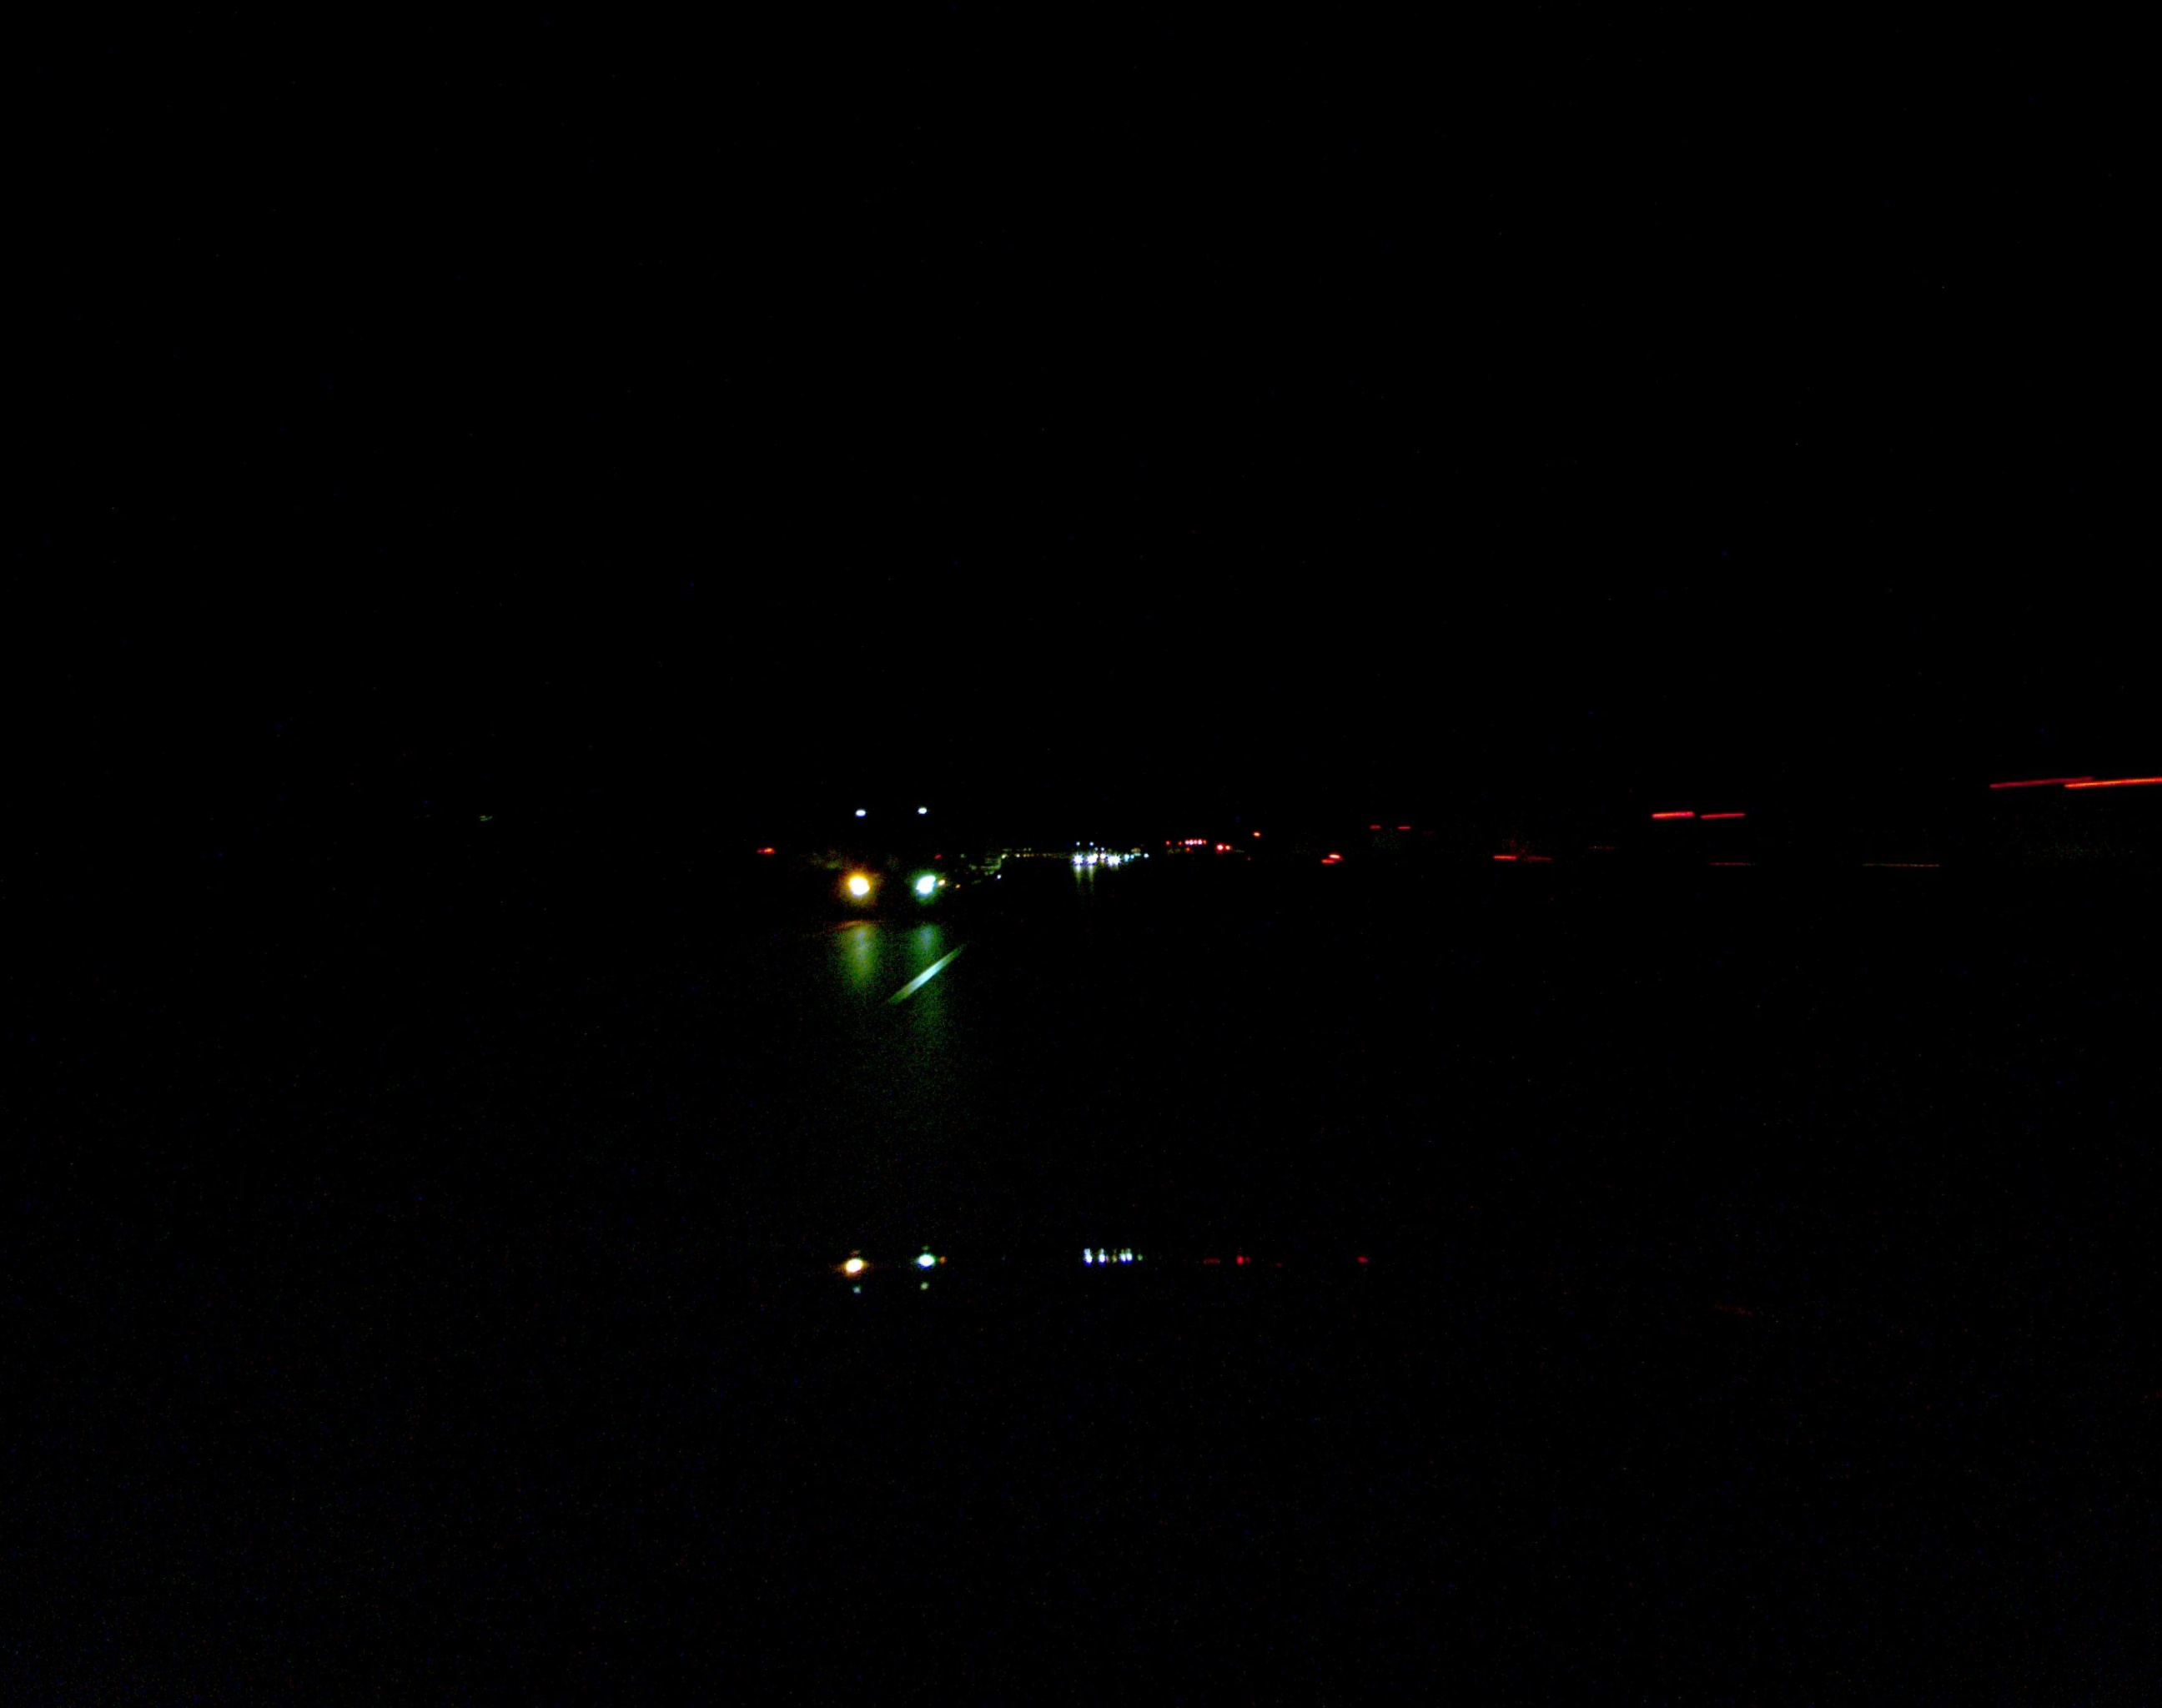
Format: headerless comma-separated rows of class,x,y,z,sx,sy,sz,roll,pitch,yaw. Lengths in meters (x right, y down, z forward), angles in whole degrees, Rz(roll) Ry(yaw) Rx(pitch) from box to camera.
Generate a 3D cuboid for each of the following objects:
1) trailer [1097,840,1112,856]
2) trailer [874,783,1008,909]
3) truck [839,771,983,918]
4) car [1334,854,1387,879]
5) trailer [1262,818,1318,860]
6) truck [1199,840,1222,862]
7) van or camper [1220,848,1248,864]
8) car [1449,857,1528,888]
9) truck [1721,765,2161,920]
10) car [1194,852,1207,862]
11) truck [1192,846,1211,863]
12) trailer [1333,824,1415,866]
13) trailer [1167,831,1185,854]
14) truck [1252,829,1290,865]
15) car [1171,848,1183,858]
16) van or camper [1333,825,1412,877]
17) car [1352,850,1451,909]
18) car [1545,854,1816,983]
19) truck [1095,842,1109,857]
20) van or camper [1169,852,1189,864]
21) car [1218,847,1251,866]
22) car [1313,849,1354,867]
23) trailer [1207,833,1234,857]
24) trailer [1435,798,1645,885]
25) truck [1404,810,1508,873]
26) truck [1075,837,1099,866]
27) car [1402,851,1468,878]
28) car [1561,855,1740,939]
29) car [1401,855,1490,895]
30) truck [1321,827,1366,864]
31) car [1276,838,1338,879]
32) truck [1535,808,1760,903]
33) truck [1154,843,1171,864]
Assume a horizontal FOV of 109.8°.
trailer,7.157,-1.822,228.652,2.880,3.911,12.885,-5,4,8
trailer,-5.191,-0.257,31.303,2.861,4.043,13.205,1,0,1
truck,-5.259,-0.273,25.070,2.869,4.053,7.510,1,0,1
car,15.447,0.667,42.191,1.574,1.346,4.000,0,0,1
trailer,19.499,-1.359,71.562,2.399,3.606,11.180,-1,1,1
truck,19.710,-0.535,115.948,2.649,3.201,5.796,-2,1,4
van or camper,20.210,0.257,100.761,2.193,2.002,7.640,0,0,-1
car,18.977,0.844,35.582,1.574,1.346,4.000,0,0,1
truck,19.971,-0.282,18.365,2.769,2.969,7.401,0,1,0
car,16.678,0.416,106.437,1.573,1.346,4.002,-2,0,6
truck,21.458,0.075,135.620,2.563,2.942,8.174,0,0,4
trailer,24.024,-0.733,63.017,2.400,3.192,11.178,-1,1,0
trailer,18.713,-2.319,148.939,3.096,4.065,12.454,-2,1,8
truck,19.651,-0.675,78.960,2.409,3.493,6.724,-1,0,1
car,13.969,-0.125,110.888,1.573,1.346,4.001,0,0,5
van or camper,19.660,-0.189,51.764,2.439,3.253,7.392,0,0,-1
car,12.110,0.897,28.985,1.999,2.002,3.999,-2,1,-1
car,11.193,1.066,14.623,1.999,2.002,3.999,-2,1,-1
truck,6.265,-1.384,221.883,2.872,3.820,8.053,-5,4,8
van or camper,11.572,0.468,89.826,1.824,1.346,5.352,0,0,1
car,10.997,0.176,54.547,1.574,1.346,4.000,0,0,1
car,19.649,0.298,59.374,1.574,1.346,4.641,0,0,-2
trailer,20.296,-1.342,110.770,2.612,3.158,9.004,-2,1,3
trailer,23.342,-0.560,40.144,2.890,3.654,13.130,-5,0,0
truck,23.268,-0.716,47.631,2.890,3.654,7.263,0,0,0
truck,1.015,-0.537,119.885,3.491,4.111,18.704,-1,1,1
car,18.888,0.527,40.726,1.719,1.346,4.000,0,0,1
car,15.844,1.104,21.444,1.999,2.002,3.999,-2,1,-1
car,15.446,0.843,32.416,1.703,1.477,3.976,-2,1,-2
truck,23.939,-0.773,69.519,2.400,3.192,4.906,-1,1,0
car,11.940,0.208,40.342,1.999,2.002,3.999,-2,1,-1
truck,19.912,-0.010,27.436,2.562,2.969,7.451,0,1,0
truck,16.828,-0.201,156.562,3.114,4.074,7.078,-2,1,8
